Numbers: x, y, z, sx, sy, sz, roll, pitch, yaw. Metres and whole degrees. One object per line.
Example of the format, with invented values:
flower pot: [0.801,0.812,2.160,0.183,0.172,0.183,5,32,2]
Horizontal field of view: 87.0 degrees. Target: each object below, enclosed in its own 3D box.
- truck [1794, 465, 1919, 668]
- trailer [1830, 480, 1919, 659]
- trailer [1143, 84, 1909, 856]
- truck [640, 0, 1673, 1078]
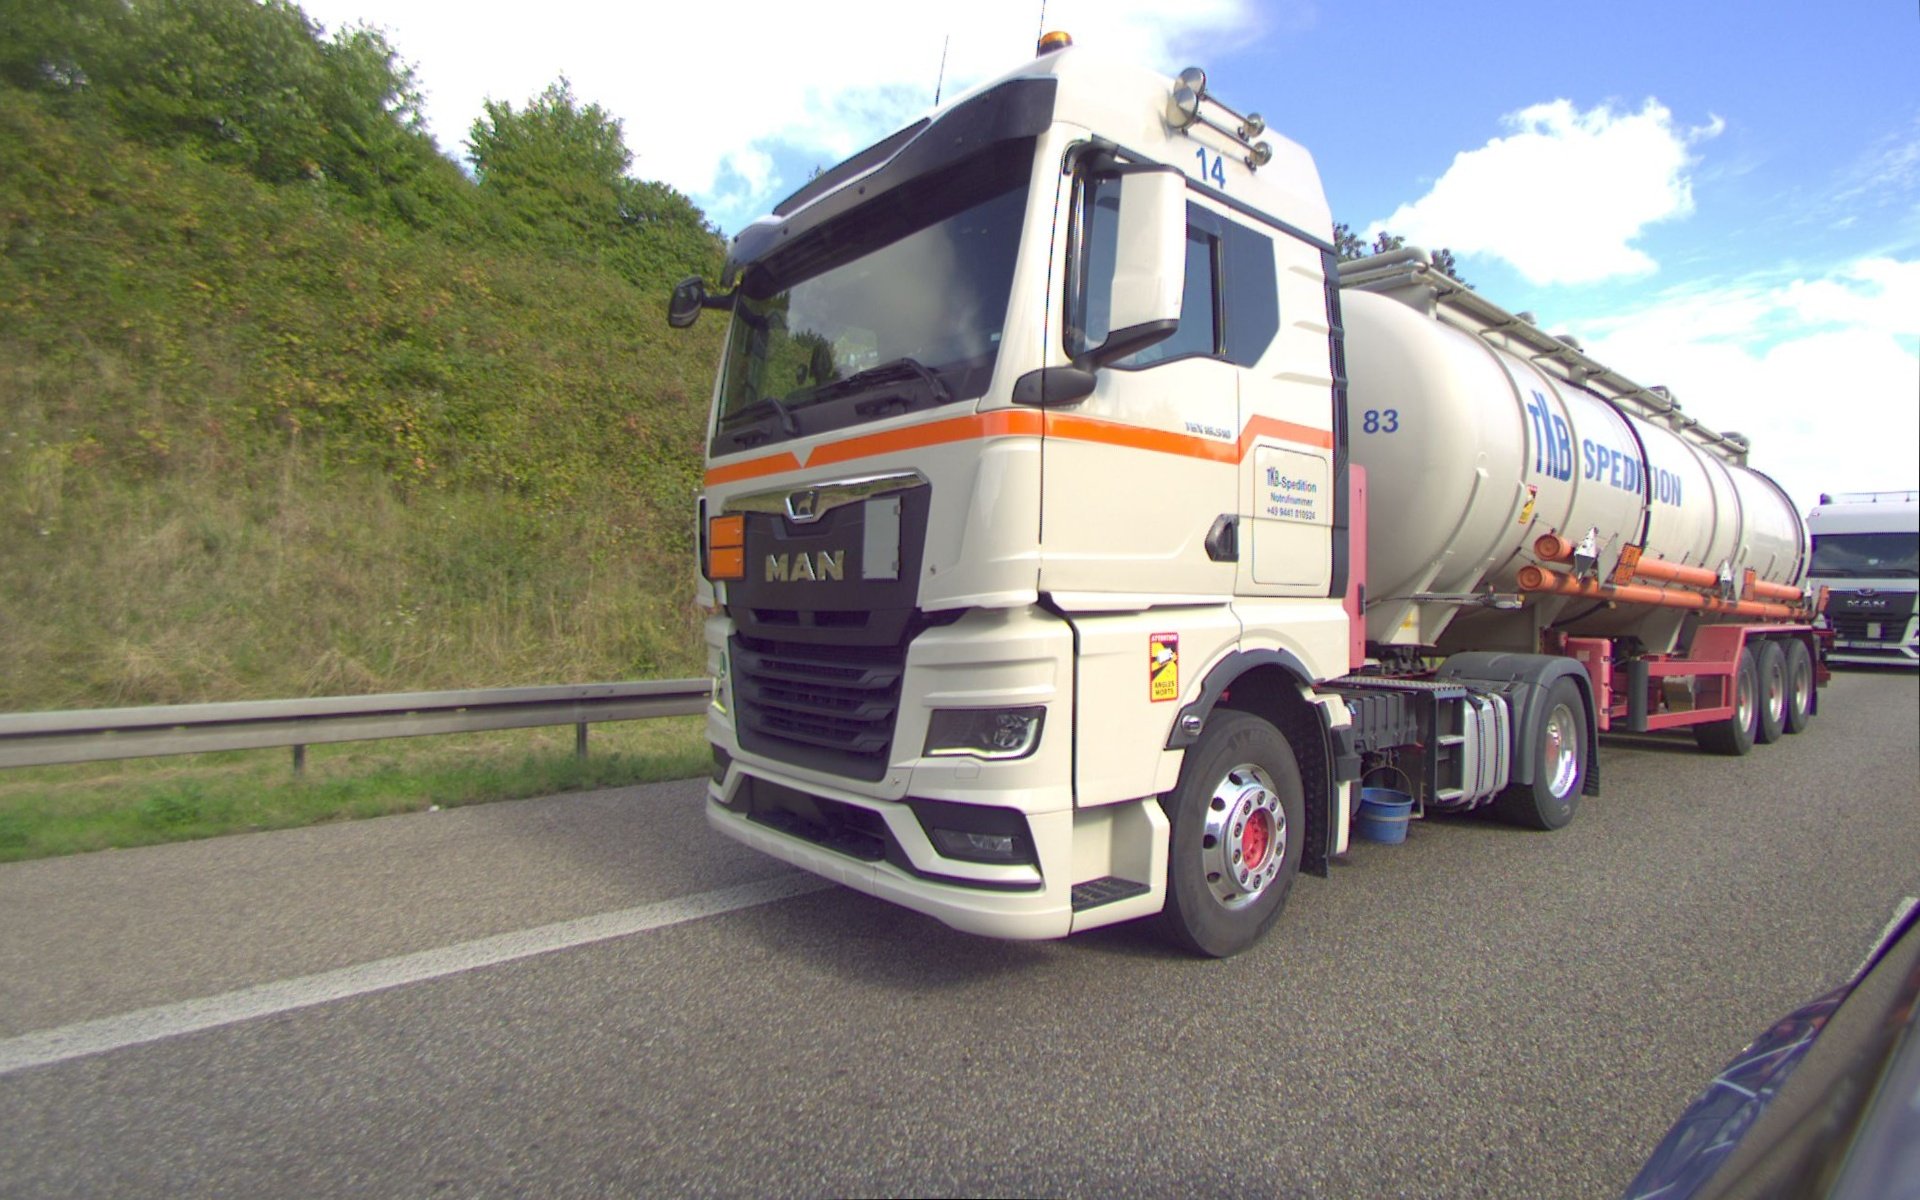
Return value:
truck: [21.297,-0.696,22.813,5.605,4.123,2.840,0,0,-40]
trailer: [26.980,-0.725,27.542,13.133,4.122,2.832,0,1,-40]
trailer: [6.479,-0.721,9.951,10.982,4.077,2.804,0,1,-40]
truck: [1.521,-0.712,5.829,5.798,4.094,2.809,0,0,-40]
